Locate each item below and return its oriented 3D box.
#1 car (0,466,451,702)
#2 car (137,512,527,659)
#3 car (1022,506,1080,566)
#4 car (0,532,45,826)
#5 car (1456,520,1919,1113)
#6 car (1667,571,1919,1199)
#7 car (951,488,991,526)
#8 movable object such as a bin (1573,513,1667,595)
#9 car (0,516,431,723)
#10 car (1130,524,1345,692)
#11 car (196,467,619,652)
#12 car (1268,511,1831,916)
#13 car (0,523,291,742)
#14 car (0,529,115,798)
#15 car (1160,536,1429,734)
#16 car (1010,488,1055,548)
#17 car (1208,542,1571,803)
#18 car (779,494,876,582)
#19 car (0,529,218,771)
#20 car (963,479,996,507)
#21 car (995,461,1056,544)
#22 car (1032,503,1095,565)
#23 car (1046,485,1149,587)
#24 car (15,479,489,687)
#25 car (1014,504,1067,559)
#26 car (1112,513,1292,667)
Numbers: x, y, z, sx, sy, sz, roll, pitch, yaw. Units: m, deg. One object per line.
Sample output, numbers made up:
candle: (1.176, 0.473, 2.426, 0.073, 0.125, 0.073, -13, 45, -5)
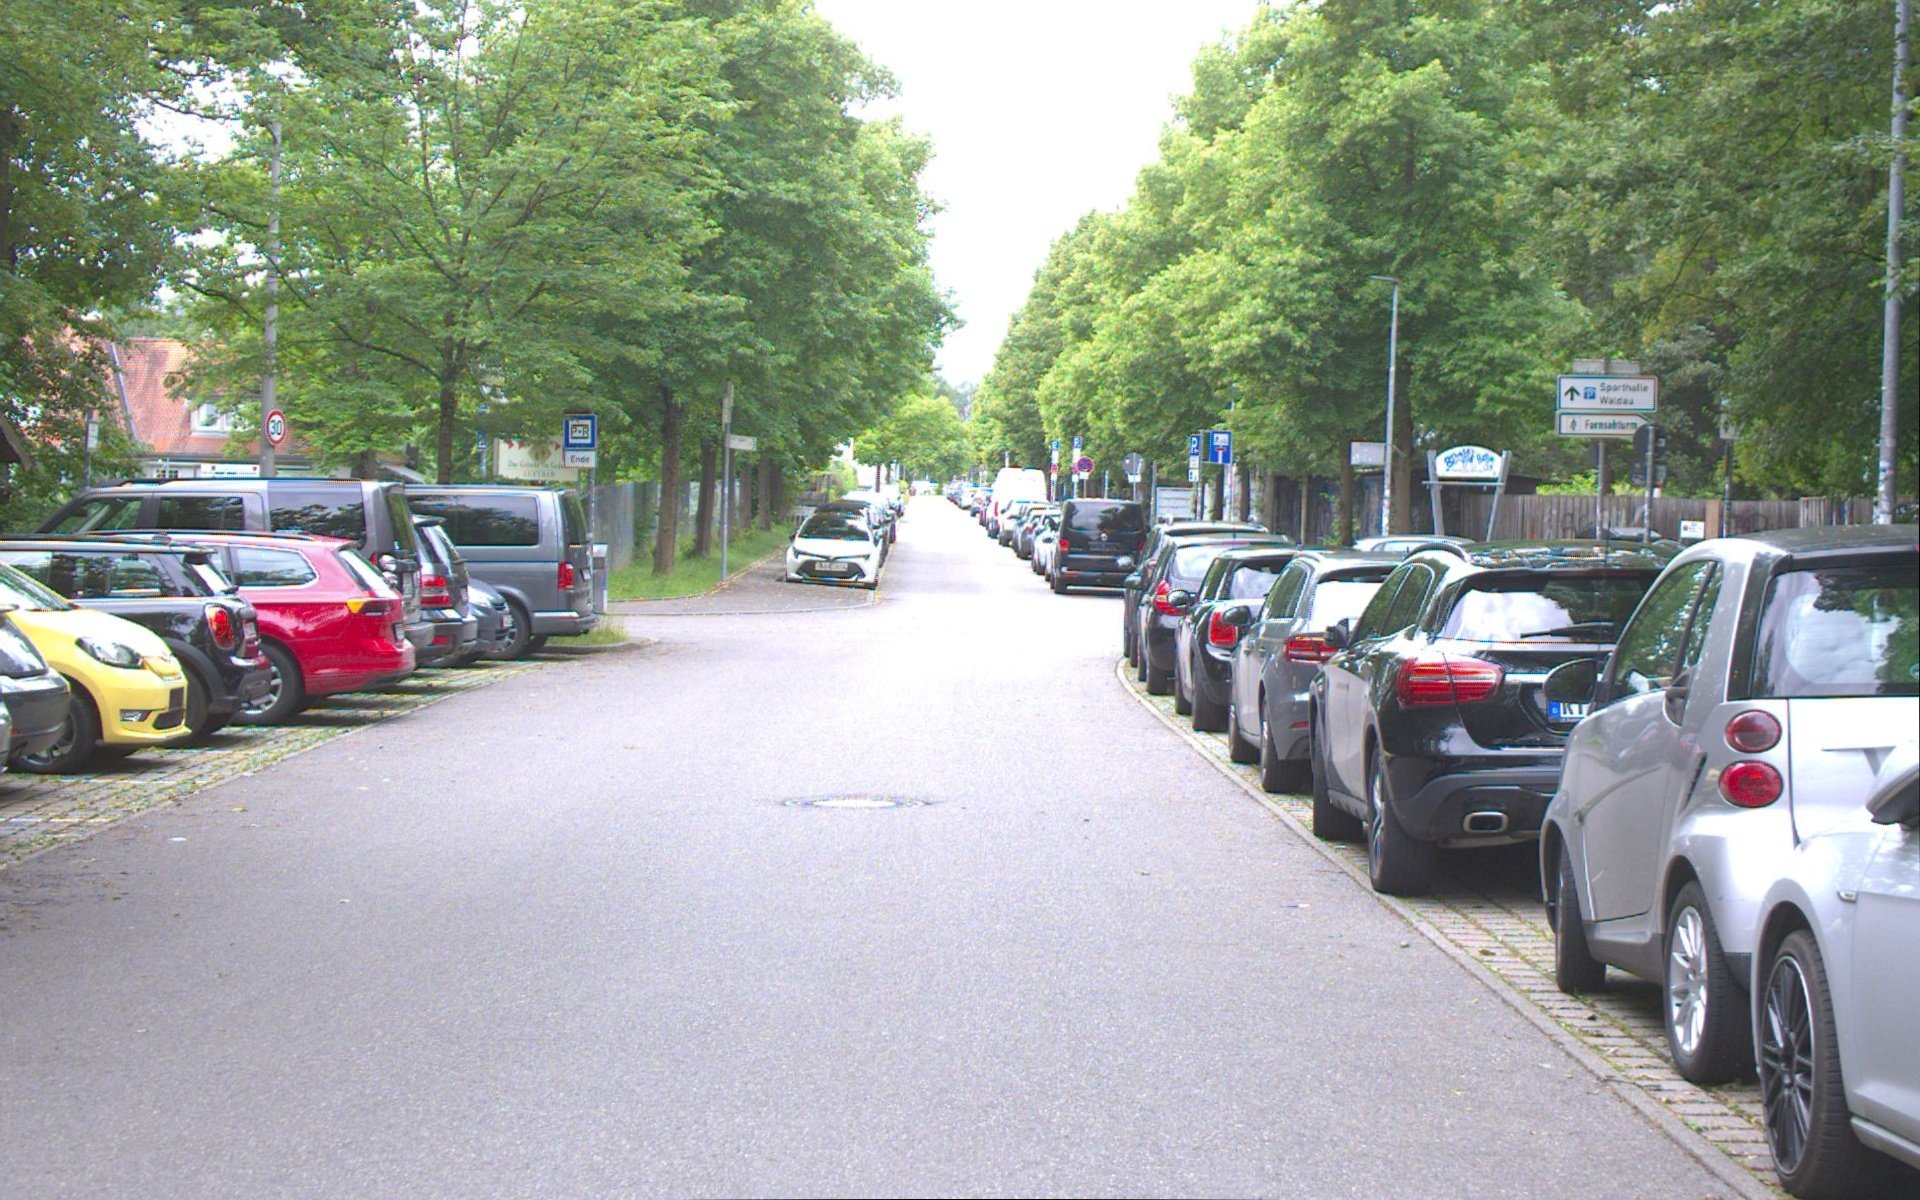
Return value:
car: (-6.471, -0.158, 29.253, 3.987, 1.856, 1.813, 2, 1, 0)
car: (-6.698, -0.175, 36.937, 3.815, 1.507, 1.809, 0, 2, 2)
car: (2.365, -1.693, 90.216, 1.469, 1.526, 3.189, 1, 2, 1)
car: (-6.703, 0.345, 16.786, 3.987, 1.433, 1.715, 2, 1, 0)
car: (2.810, 0.538, 11.119, 1.736, 1.562, 4.008, 1, 1, -1)
car: (2.788, 0.699, 6.622, 1.736, 1.420, 4.155, 1, 1, -4)
car: (0.620, -5.094, 188.686, 1.994, 2.007, 4.000, 1, 1, 3)
movable object such as a bin: (11.727, -0.814, 61.069, 1.282, 1.437, 1.078, 0, 1, -44)
car: (-6.253, 0.122, 26.857, 3.986, 1.471, 1.780, 1, 1, -2)
car: (2.625, 0.027, 33.347, 1.736, 1.489, 4.234, 1, 1, 0)
car: (-6.217, -0.459, 39.066, 4.502, 1.971, 1.891, 1, 1, -1)
car: (2.532, 0.401, 15.820, 1.736, 1.583, 4.382, 1, 1, -1)
car: (-6.865, 0.183, 24.222, 3.986, 1.433, 1.672, 1, 1, -2)
car: (-7.014, 0.285, 19.514, 3.987, 1.433, 1.734, 2, 1, 0)
car: (2.613, 0.220, 27.791, 1.736, 1.427, 4.502, 1, 1, 0)
car: (2.433, -2.775, 115.523, 1.469, 1.961, 3.189, 1, 2, 1)
car: (2.594, 0.372, 21.732, 1.736, 1.427, 4.502, 1, 1, 0)
car: (-2.651, -1.254, 68.075, 1.765, 1.590, 4.217, 3, 2, -3)
car: (-6.895, 0.258, 21.836, 3.987, 1.433, 1.618, 2, 1, 0)
car: (1.250, -6.905, 221.935, 1.898, 1.700, 4.063, 1, 1, 3)
car: (2.450, -3.634, 128.524, 2.184, 3.005, 4.897, 1, 2, 1)
car: (2.533, -1.638, 84.701, 1.469, 1.476, 3.189, 1, 2, 1)
car: (2.795, -1.347, 70.703, 1.988, 2.006, 4.108, 1, 2, 1)
car: (-6.460, -0.177, 31.690, 3.986, 1.759, 1.824, 1, 1, -2)
car: (2.312, -1.972, 98.898, 1.469, 1.526, 3.189, 1, 2, 1)
car: (2.698, -0.155, 39.098, 1.736, 1.628, 4.375, 1, 1, 0)
